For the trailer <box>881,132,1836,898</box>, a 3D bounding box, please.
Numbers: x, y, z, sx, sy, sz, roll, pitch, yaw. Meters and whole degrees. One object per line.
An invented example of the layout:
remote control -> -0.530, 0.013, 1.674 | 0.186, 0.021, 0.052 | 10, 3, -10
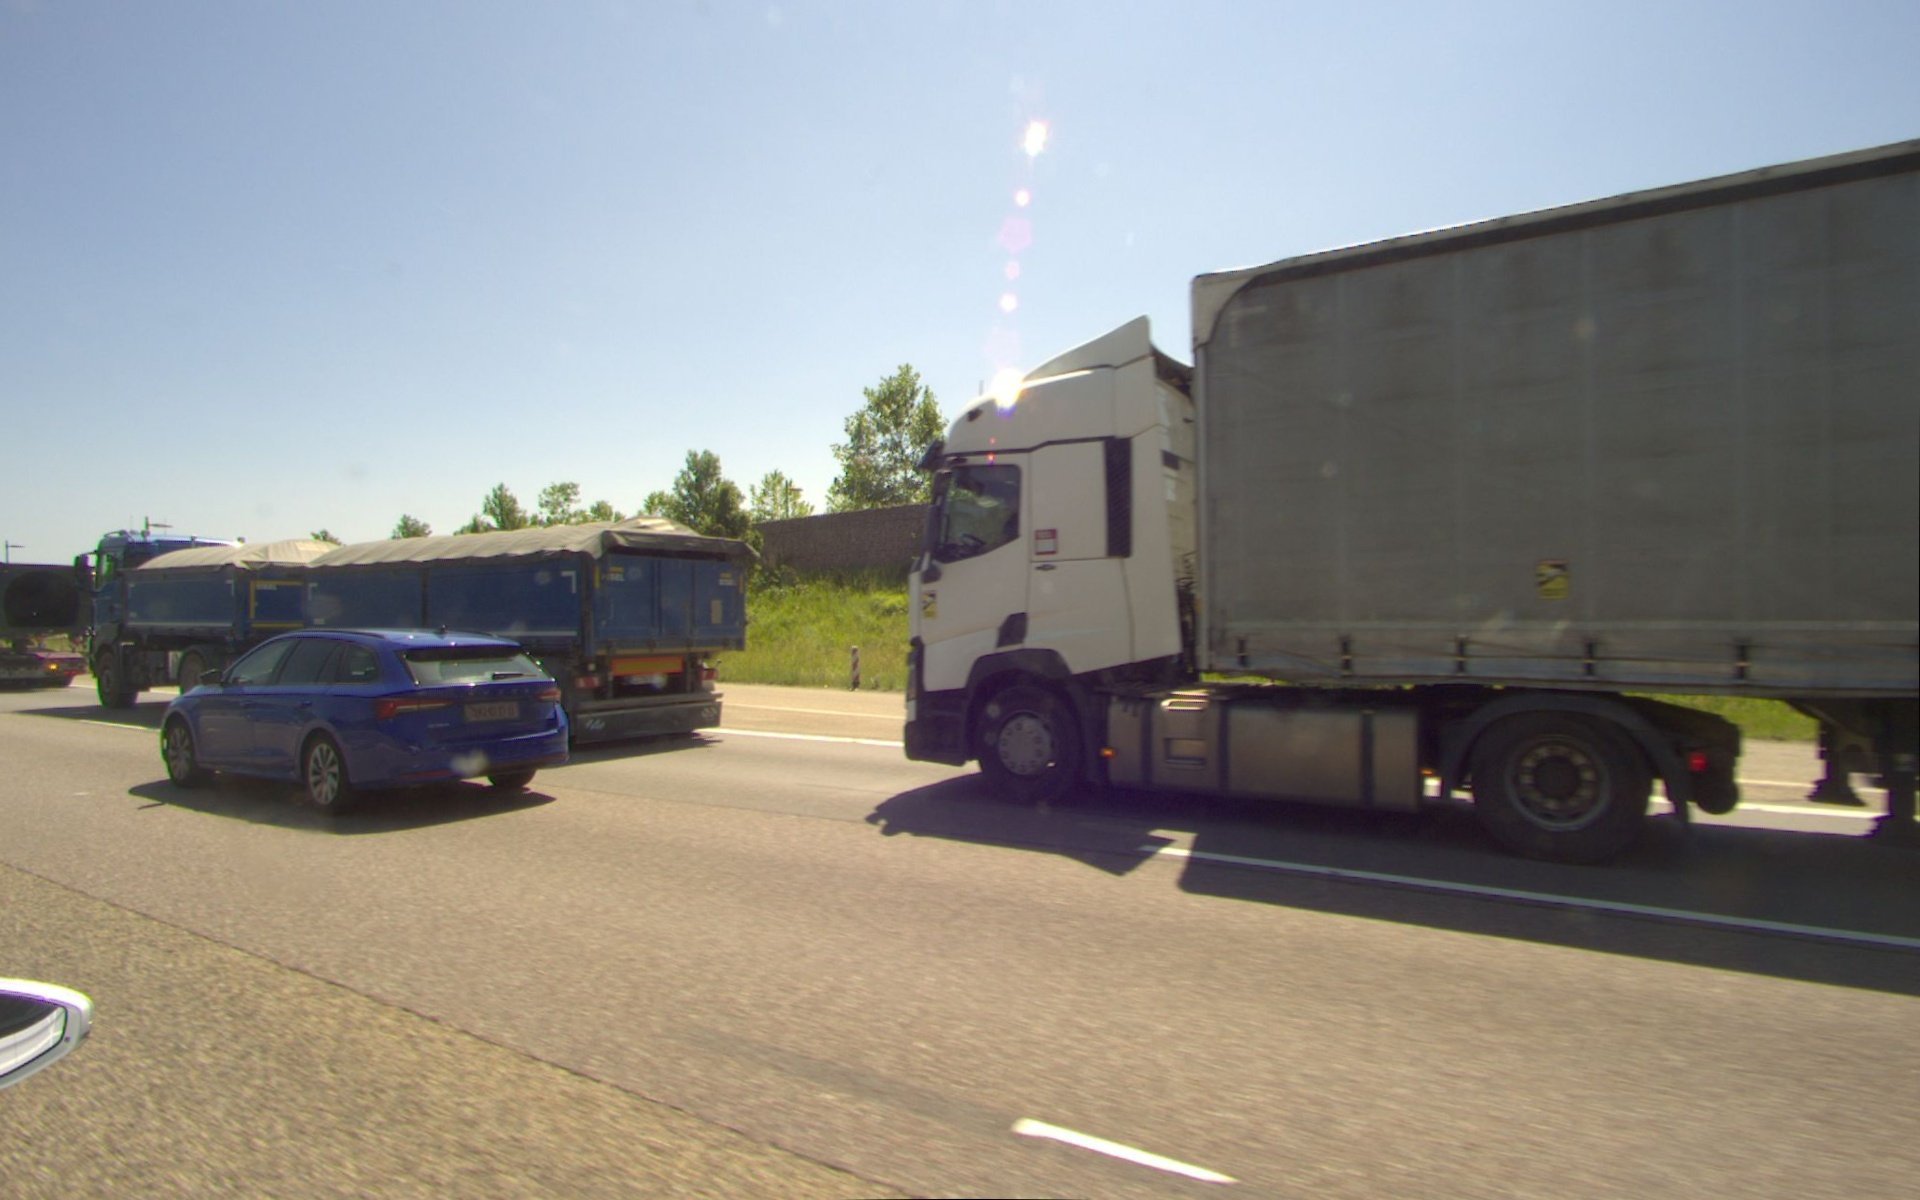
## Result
trailer -> 2.755, -0.385, 8.282 | 6.318, 4.096, 2.920 | -1, -1, 32

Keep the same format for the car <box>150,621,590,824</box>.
car -> -5.478, 0.971, 9.131 | 4.366, 1.459, 1.703 | -2, -2, 33

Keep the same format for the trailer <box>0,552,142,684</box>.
trailer -> -28.474, 0.675, 28.673 | 15.559, 3.117, 3.638 | -2, -2, 35

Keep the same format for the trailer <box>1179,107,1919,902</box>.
trailer -> 8.098, -0.489, 4.920 | 13.554, 4.101, 2.958 | -1, -2, 32

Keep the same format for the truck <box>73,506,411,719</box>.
truck -> -13.616, 0.246, 18.818 | 7.030, 3.354, 2.739 | 0, -1, 33

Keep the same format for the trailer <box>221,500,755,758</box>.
trailer -> -7.279, 0.390, 14.734 | 8.985, 2.873, 2.739 | 0, -1, 33
